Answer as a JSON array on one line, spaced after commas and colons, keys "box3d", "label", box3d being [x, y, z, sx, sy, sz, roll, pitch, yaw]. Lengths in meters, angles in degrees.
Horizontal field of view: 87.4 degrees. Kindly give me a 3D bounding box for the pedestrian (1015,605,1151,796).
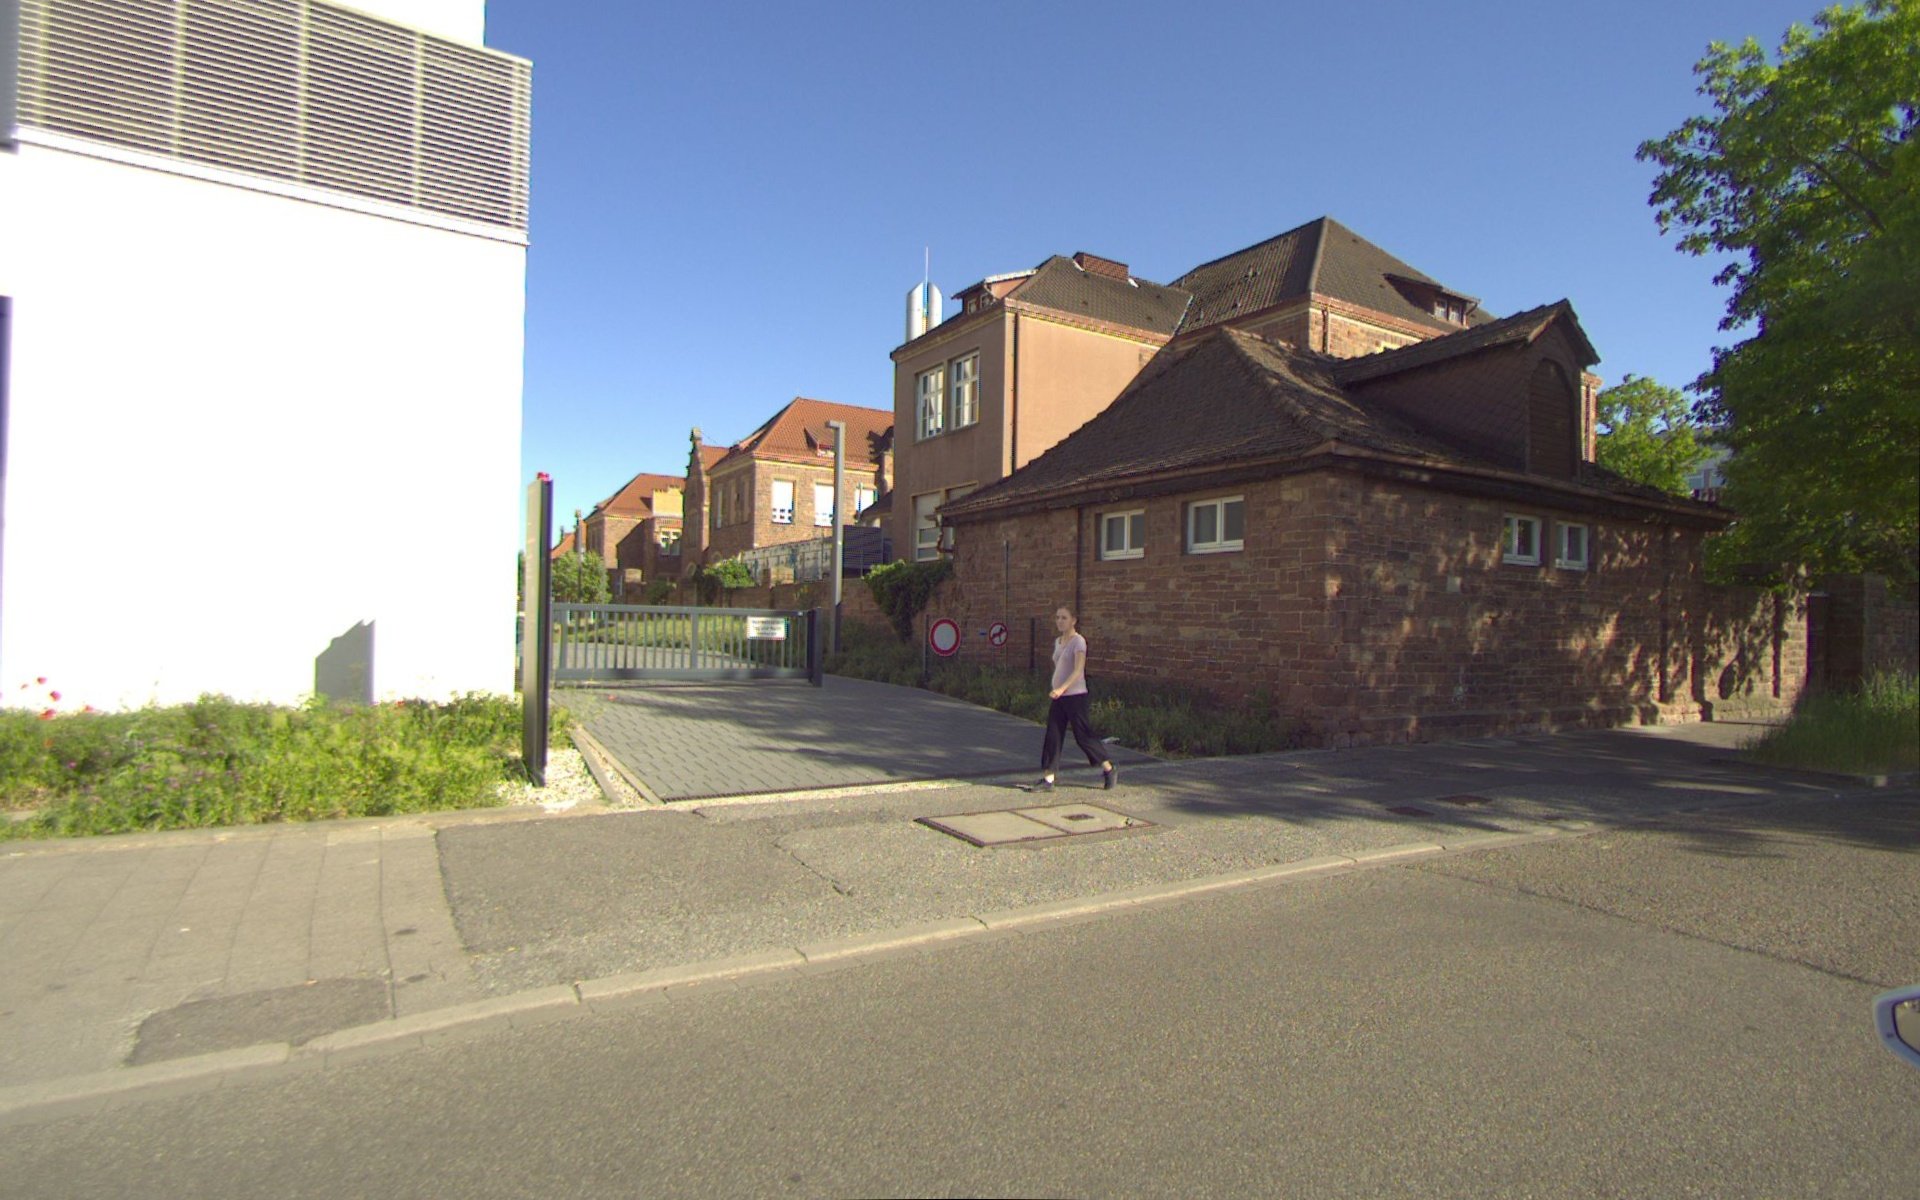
[{"box3d": [1.087, 0.848, 8.841, 1.084, 1.583, 0.518, 2, -1, -33], "label": "pedestrian"}]
